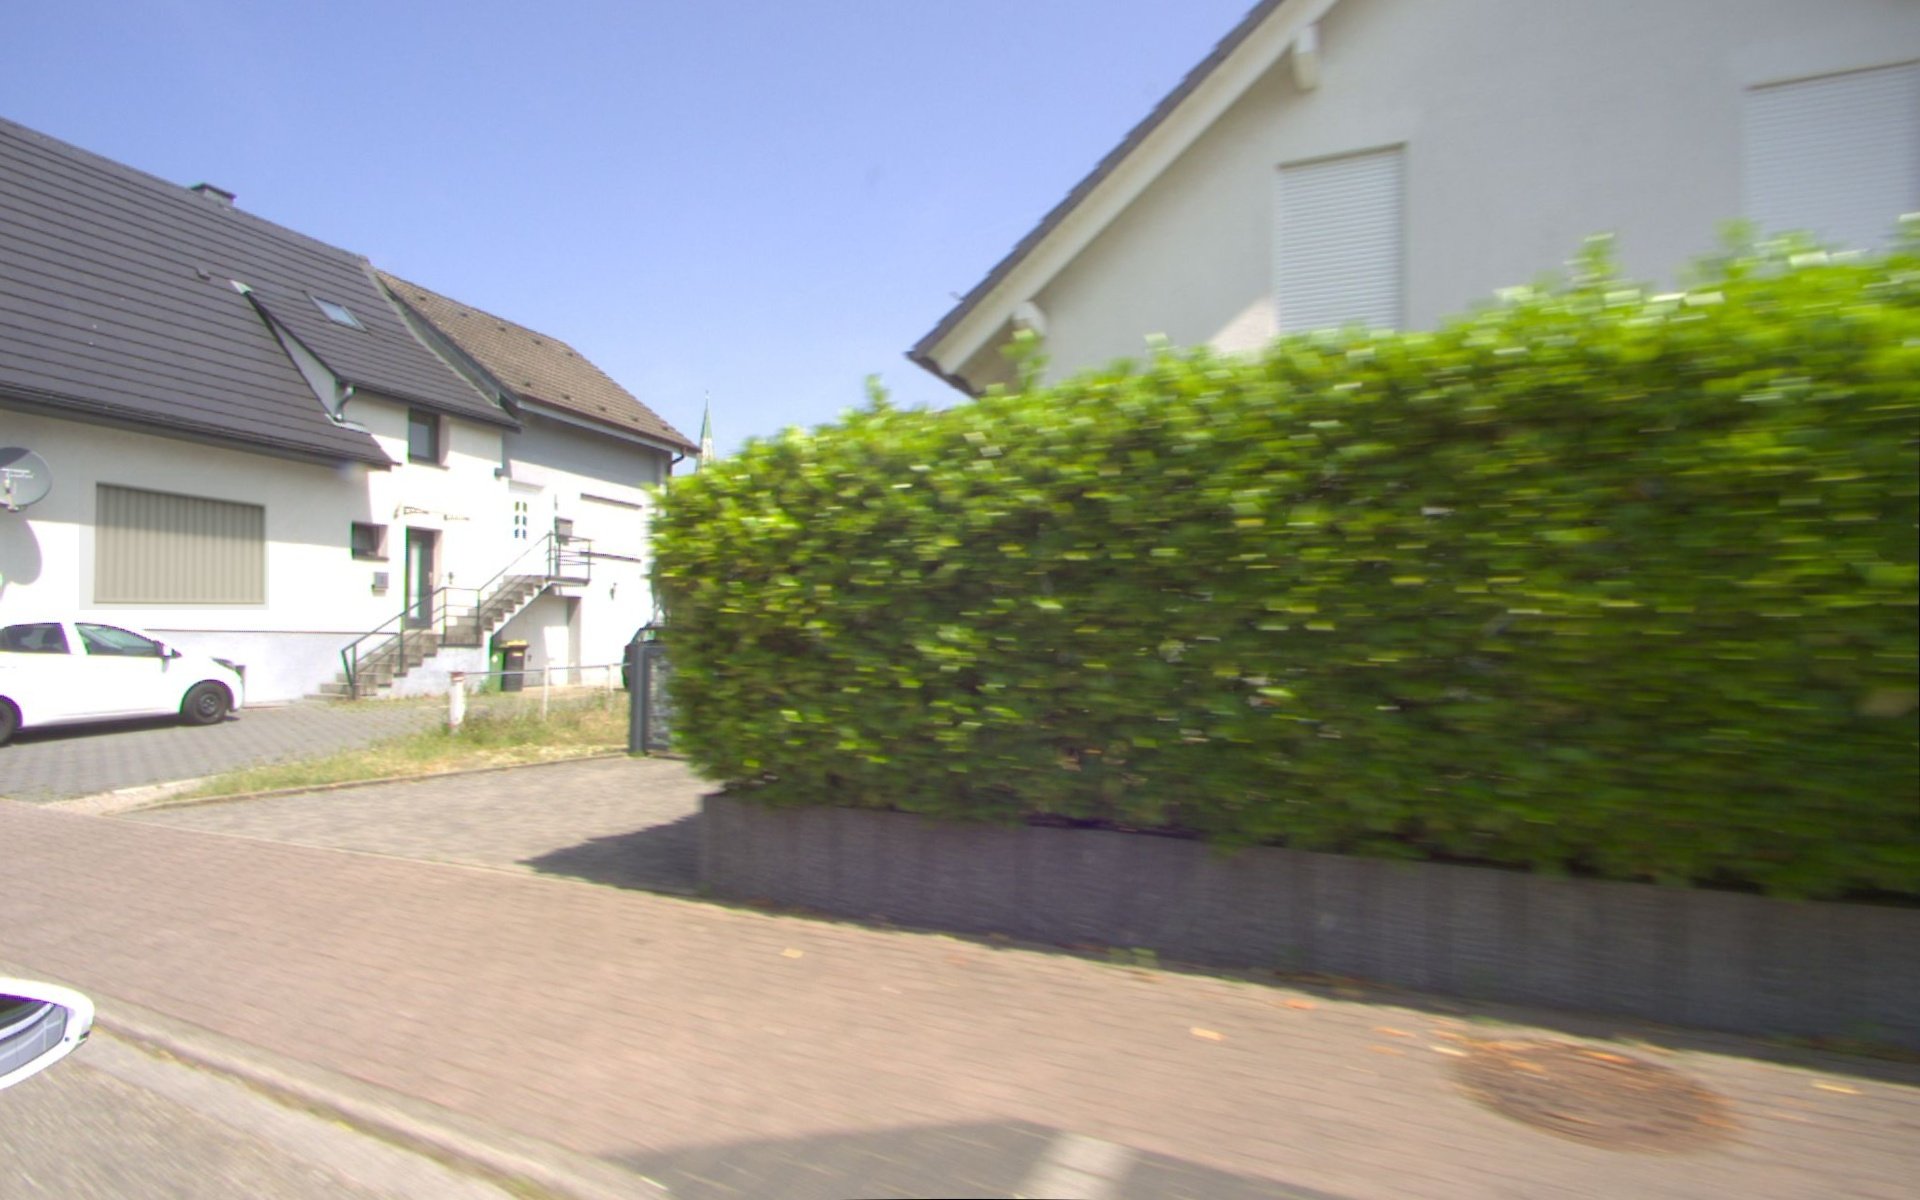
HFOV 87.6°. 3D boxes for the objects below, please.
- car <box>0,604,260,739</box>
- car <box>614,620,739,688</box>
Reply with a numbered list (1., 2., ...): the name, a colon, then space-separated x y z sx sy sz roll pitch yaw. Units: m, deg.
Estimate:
1. car: -11.260 0.817 12.643 1.734 1.494 3.662 1 0 20
2. car: -6.826 1.305 24.476 1.685 1.510 3.578 1 -3 7
